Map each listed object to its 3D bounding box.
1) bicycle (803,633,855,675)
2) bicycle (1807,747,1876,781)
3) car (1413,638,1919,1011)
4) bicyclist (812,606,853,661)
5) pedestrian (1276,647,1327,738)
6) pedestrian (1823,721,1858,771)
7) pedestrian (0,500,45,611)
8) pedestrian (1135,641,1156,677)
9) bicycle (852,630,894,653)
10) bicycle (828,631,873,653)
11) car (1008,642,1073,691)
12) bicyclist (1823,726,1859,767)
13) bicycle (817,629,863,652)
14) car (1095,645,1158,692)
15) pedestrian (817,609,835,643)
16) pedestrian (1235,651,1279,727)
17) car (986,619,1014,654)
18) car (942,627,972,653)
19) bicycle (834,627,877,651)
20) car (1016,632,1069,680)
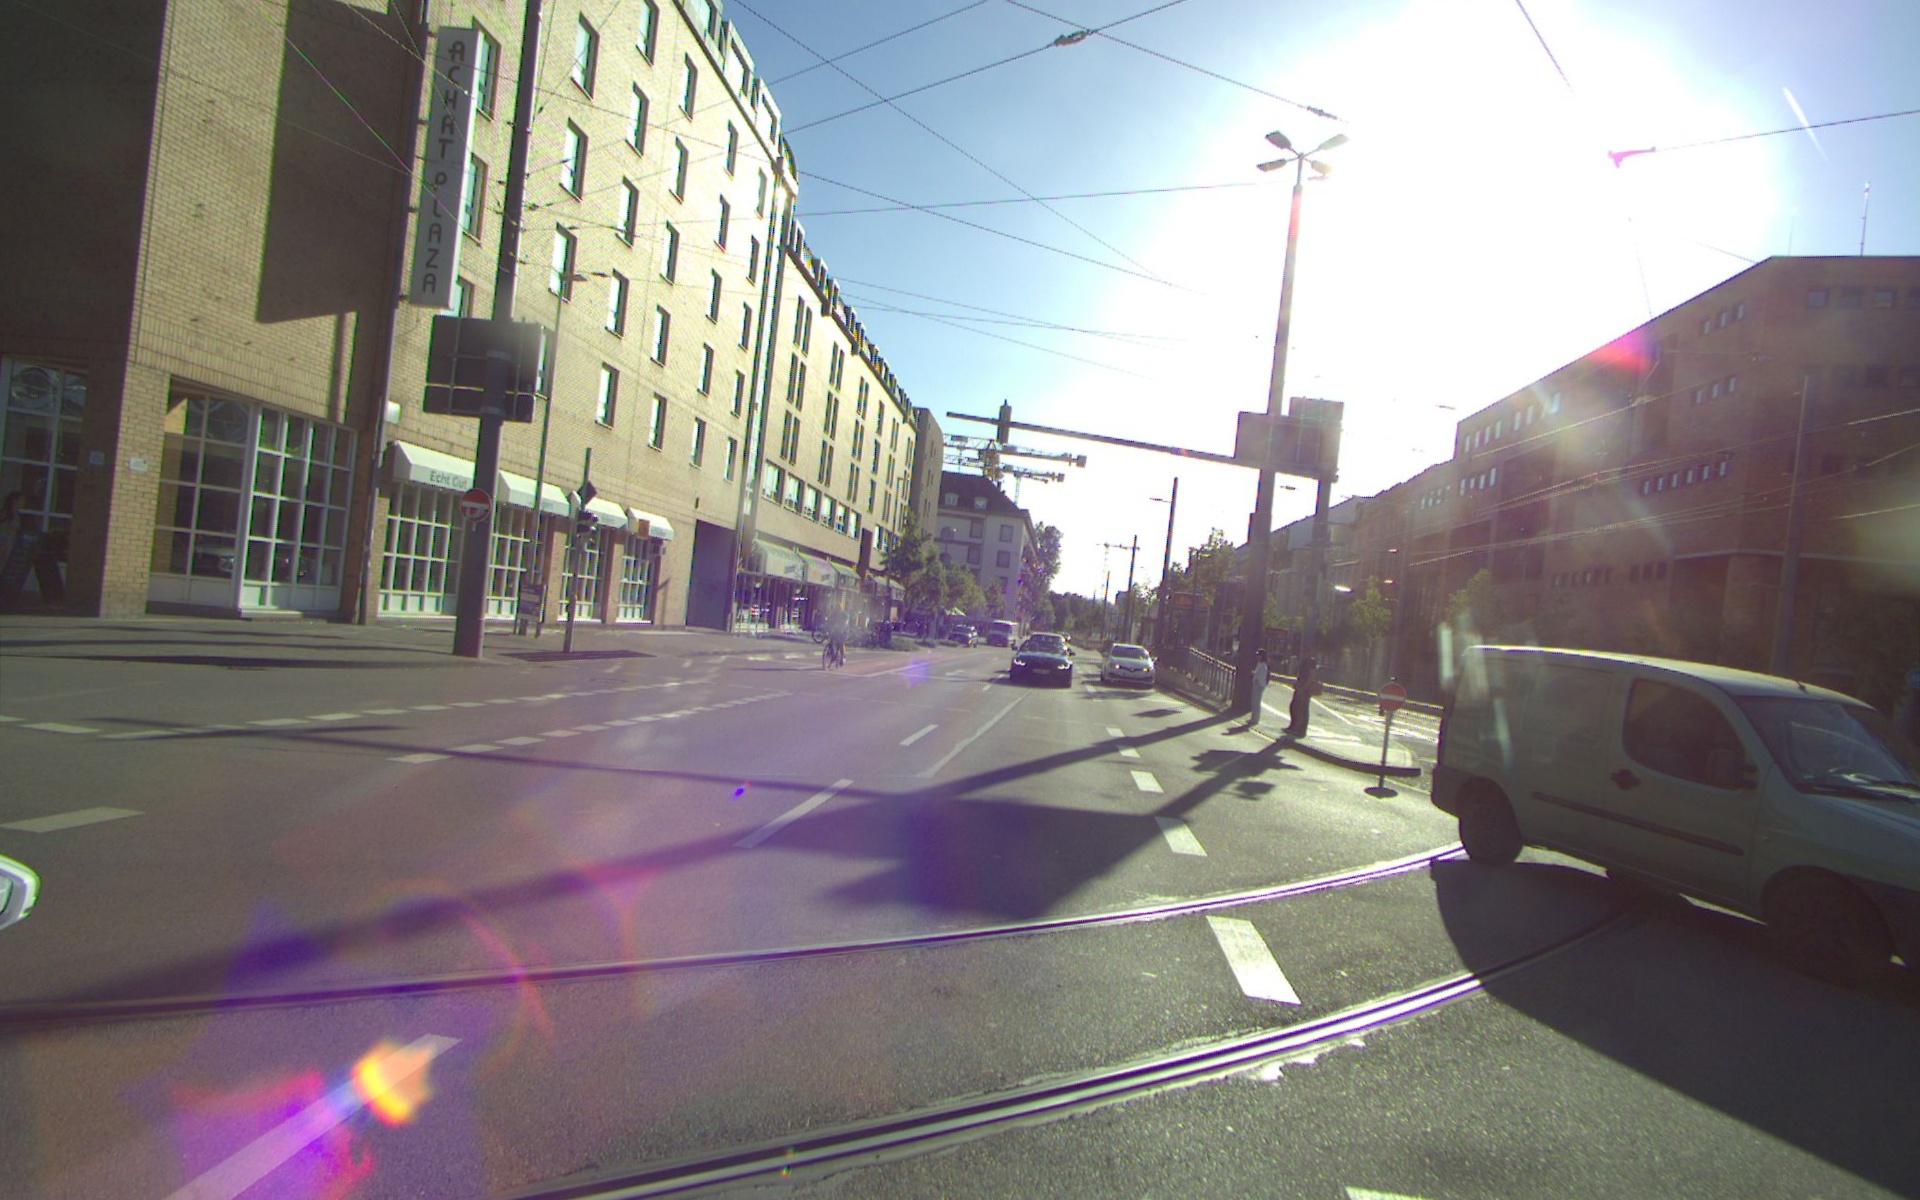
[{"bbox_3d":[-3.535,1.454,27.425,0.797,1.002,2.511,6,-2,5],"label":"bicycle"},{"bbox_3d":[32.340,5.991,36.951,0.638,0.915,2.348,6,-2,7],"label":"bicycle"},{"bbox_3d":[5.463,1.312,7.180,1.815,1.857,4.099,5,-2,-14],"label":"car"},{"bbox_3d":[-3.480,0.923,27.446,0.797,1.393,0.926,6,-1,5],"label":"bicyclist"},{"bbox_3d":[6.934,1.856,20.432,0.709,1.747,0.595,6,-1,7],"label":"pedestrian"},{"bbox_3d":[33.832,5.604,38.671,0.630,1.807,0.689,5,-1,9],"label":"pedestrian"},{"bbox_3d":[-15.066,-0.723,15.697,0.739,1.686,0.741,6,0,9],"label":"pedestrian"},{"bbox_3d":[10.650,3.382,57.732,0.848,1.909,0.737,7,0,-4],"label":"pedestrian"},{"bbox_3d":[-4.347,2.068,50.397,2.002,0.932,0.483,6,-1,17],"label":"bicycle"},{"bbox_3d":[-5.190,2.002,47.744,2.002,0.855,0.483,6,-1,17],"label":"bicycle"},{"bbox_3d":[2.510,2.043,31.639,1.810,1.283,4.234,5,-2,4],"label":"car"},{"bbox_3d":[32.415,5.374,37.008,0.635,1.355,0.653,6,-1,7],"label":"bicyclist"},{"bbox_3d":[-5.510,1.860,46.294,2.002,0.855,0.483,6,-1,17],"label":"bicycle"},{"bbox_3d":[6.026,2.458,36.852,1.810,1.465,4.303,5,-2,5],"label":"car"},{"bbox_3d":[-7.351,1.446,55.344,0.705,1.785,0.566,5,-1,9],"label":"pedestrian"},{"bbox_3d":[6.589,1.957,22.338,0.572,1.595,0.646,6,-1,-7],"label":"pedestrian"},{"bbox_3d":[3.916,3.495,97.326,2.340,3.035,8.475,6,-1,3],"label":"car"},{"bbox_3d":[-0.193,3.157,79.453,1.810,1.857,4.112,5,-2,6],"label":"car"},{"bbox_3d":[-5.101,1.896,49.076,2.002,0.932,0.483,6,-1,17],"label":"bicycle"},{"bbox_3d":[3.187,2.157,39.047,1.810,1.631,4.234,5,-2,4],"label":"car"}]
